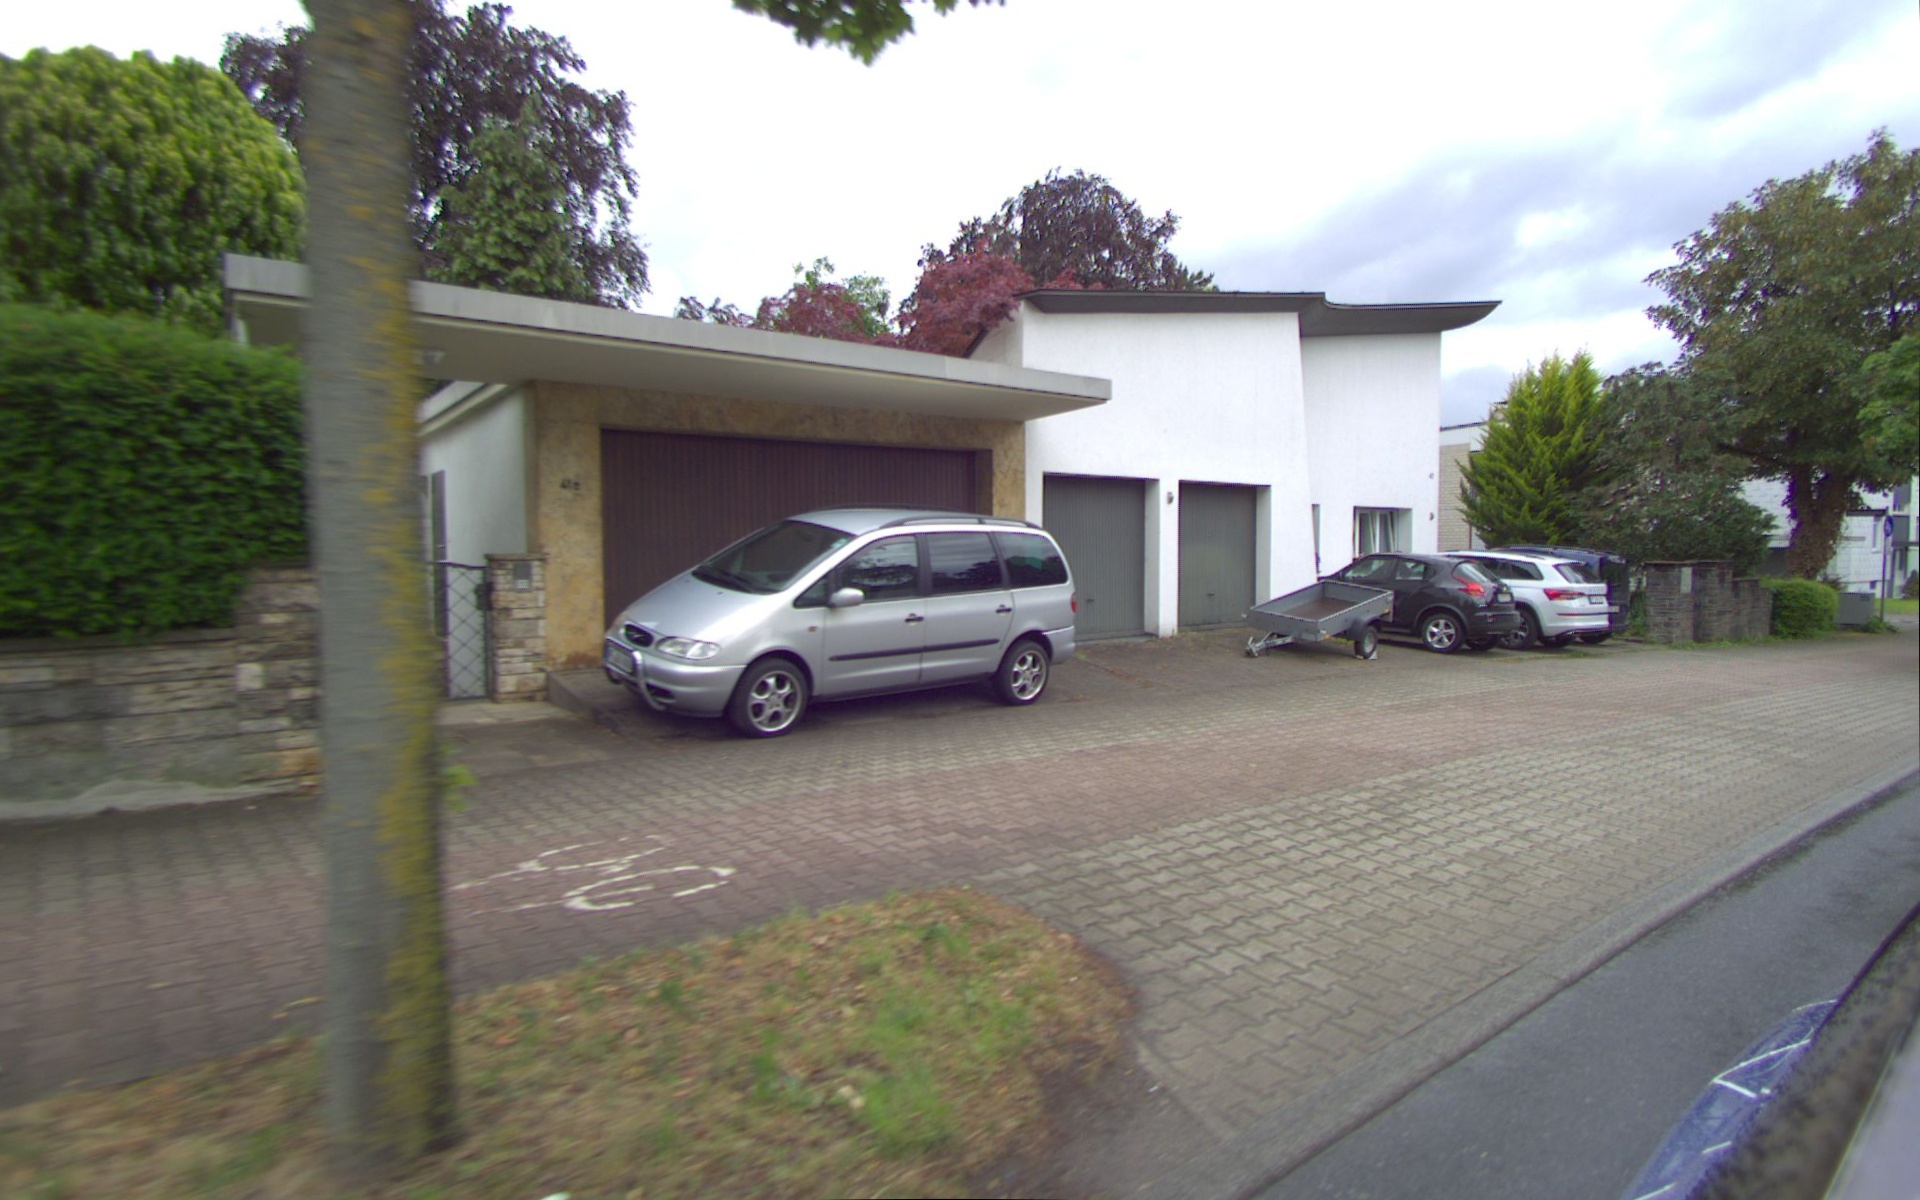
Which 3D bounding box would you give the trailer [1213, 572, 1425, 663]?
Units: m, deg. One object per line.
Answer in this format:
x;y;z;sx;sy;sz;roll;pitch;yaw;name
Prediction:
5.244;0.183;14.646;3.219;0.931;1.425;-2;11;-41;trailer

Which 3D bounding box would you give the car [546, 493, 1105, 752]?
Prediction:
-0.984;0.091;9.205;4.856;1.779;1.798;-1;2;-40;car

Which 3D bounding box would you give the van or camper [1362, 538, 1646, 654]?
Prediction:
9.828;-0.177;18.558;2.083;1.697;4.003;-1;6;-36;van or camper

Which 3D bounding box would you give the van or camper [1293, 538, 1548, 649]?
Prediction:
7.585;-0.195;16.886;1.738;1.574;3.410;-1;5;-41;van or camper

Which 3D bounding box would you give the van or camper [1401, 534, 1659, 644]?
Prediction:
11.351;-0.319;20.426;1.909;1.809;4.033;-1;6;-33;van or camper
